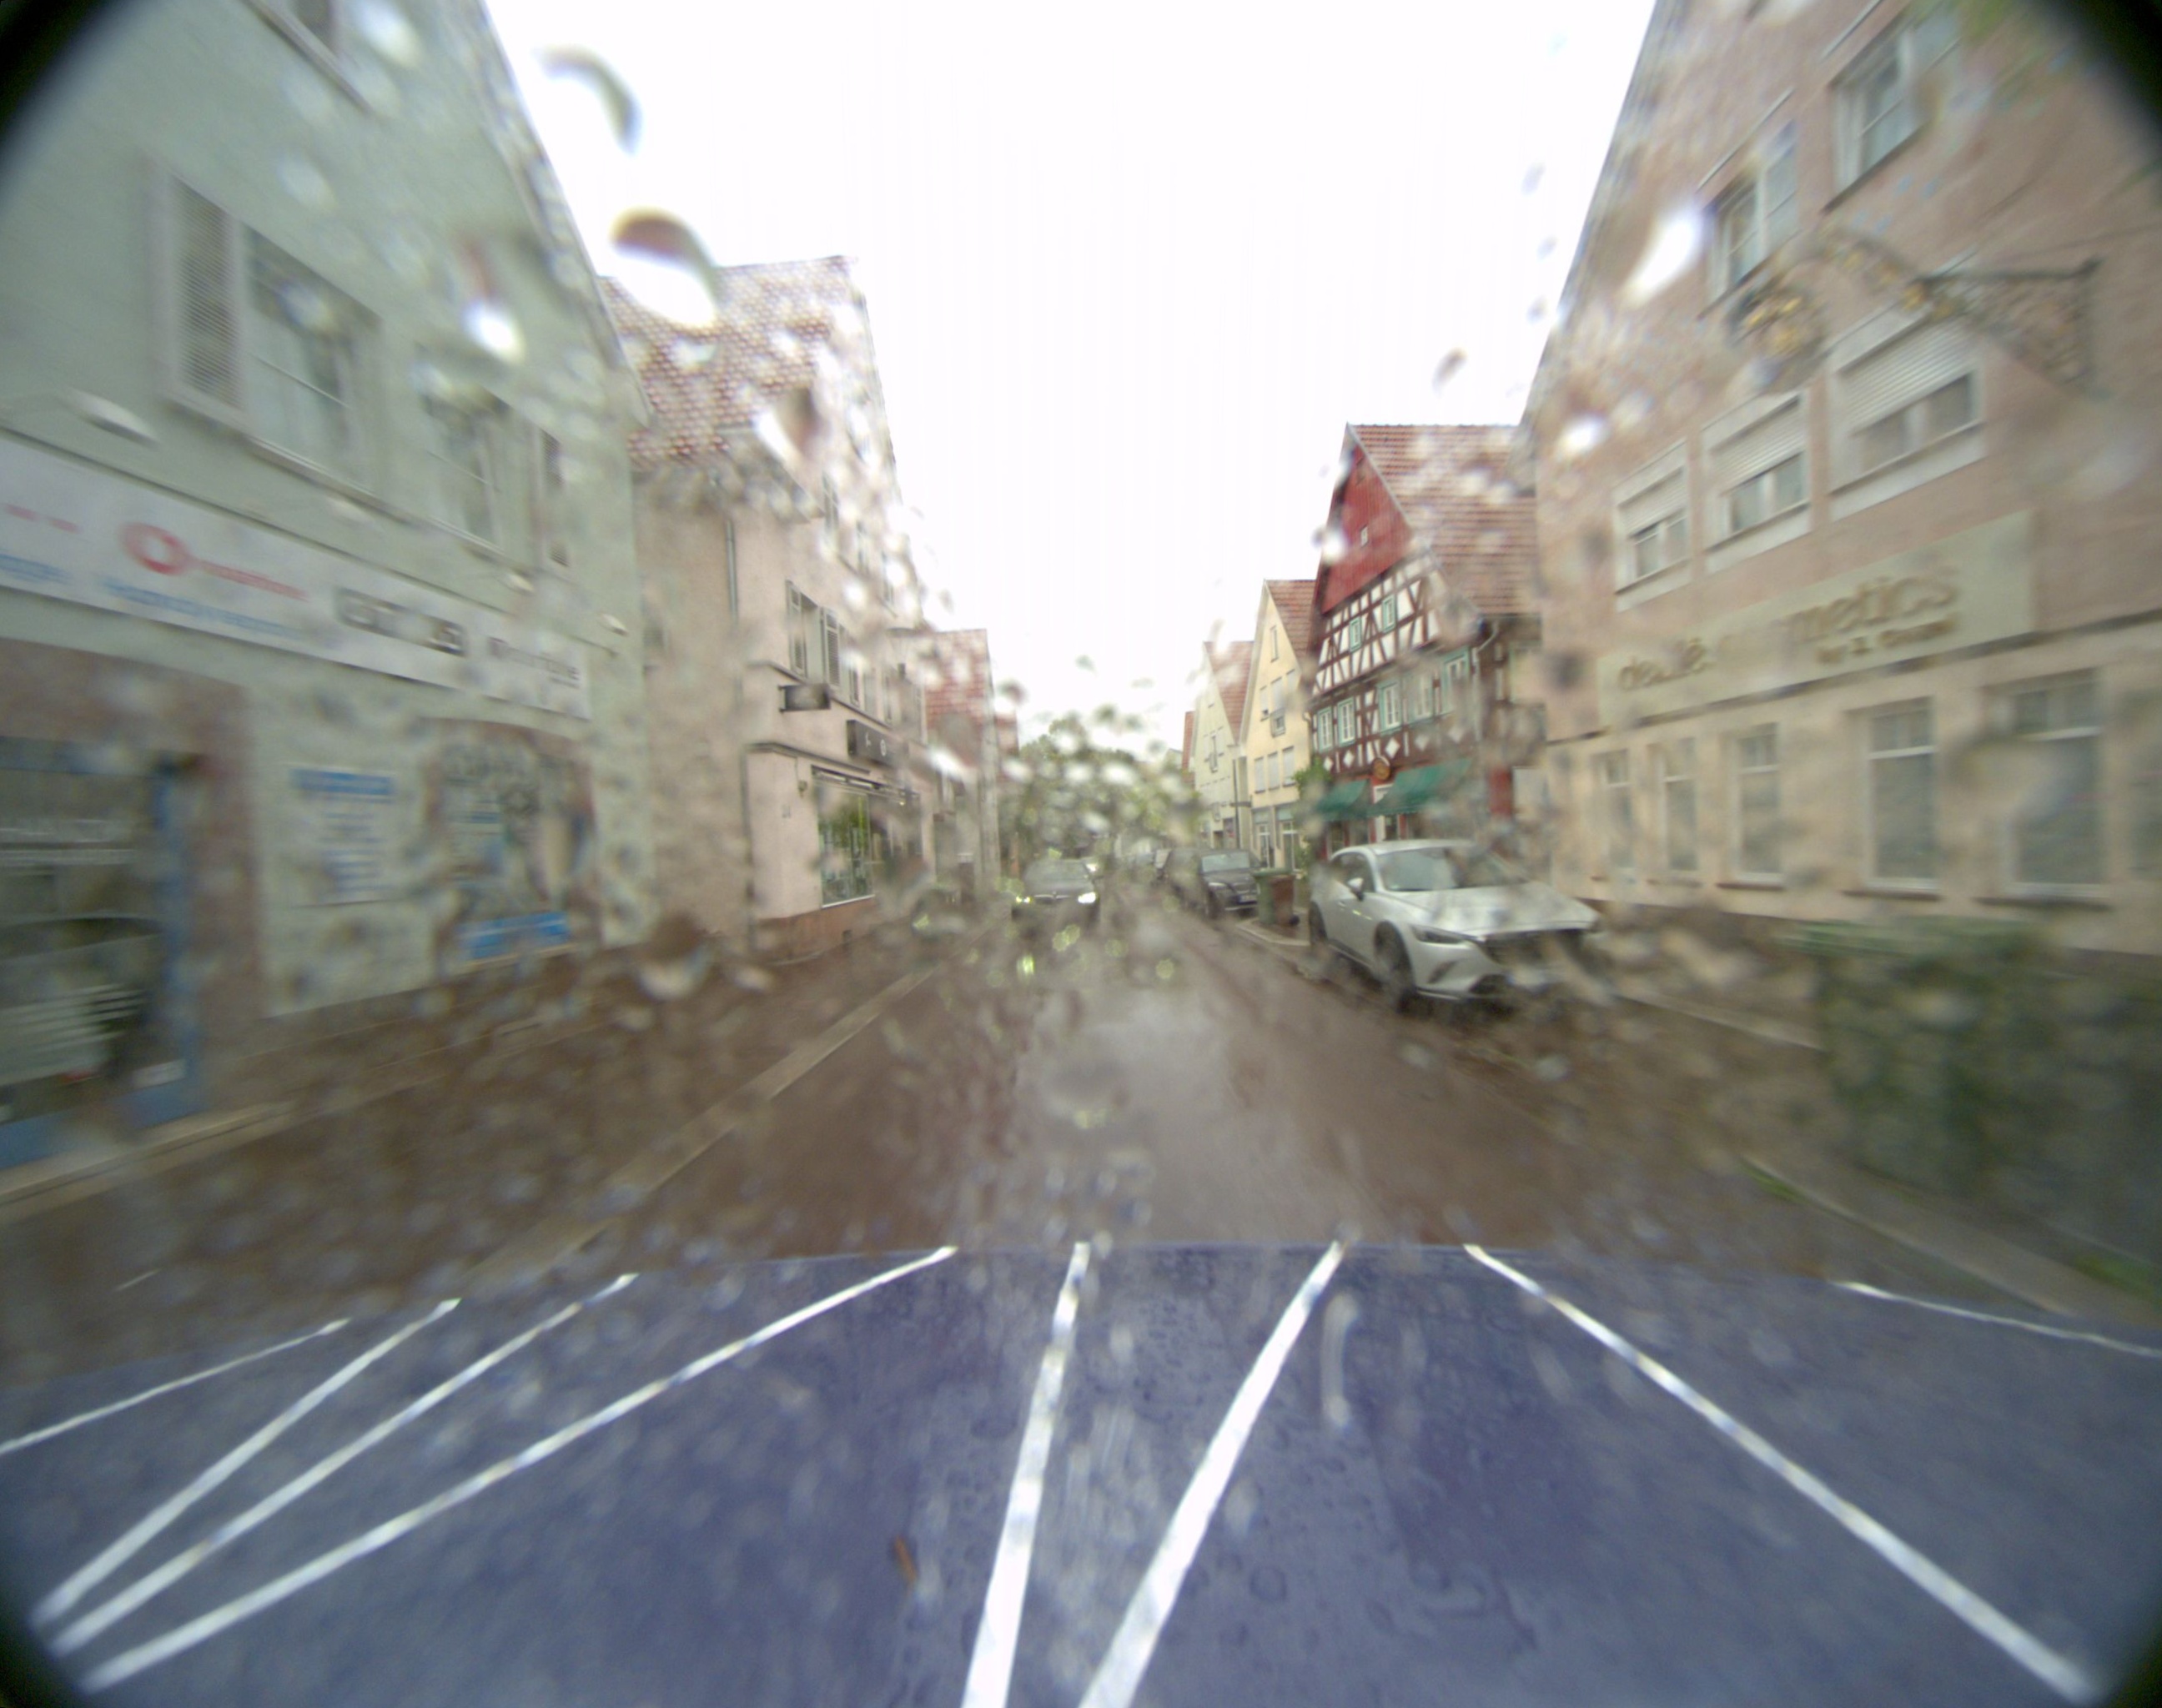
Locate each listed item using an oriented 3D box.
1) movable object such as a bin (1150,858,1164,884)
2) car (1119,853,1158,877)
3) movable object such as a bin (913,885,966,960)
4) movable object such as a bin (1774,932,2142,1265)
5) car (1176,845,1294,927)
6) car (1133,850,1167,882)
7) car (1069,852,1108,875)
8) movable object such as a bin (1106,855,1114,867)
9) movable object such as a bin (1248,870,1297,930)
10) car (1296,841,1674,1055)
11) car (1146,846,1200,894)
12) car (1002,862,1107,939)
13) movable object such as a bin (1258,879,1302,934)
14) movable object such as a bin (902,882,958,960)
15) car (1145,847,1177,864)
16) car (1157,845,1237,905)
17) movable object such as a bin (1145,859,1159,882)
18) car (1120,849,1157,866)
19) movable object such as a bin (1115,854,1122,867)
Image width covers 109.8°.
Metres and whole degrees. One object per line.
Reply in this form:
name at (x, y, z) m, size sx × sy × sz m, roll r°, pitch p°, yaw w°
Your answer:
movable object such as a bin at (3.578, 0.799, 35.689) m, size 0.603 × 1.194 × 0.523 m, roll -3°, pitch 2°, yaw 4°
car at (3.674, 0.696, 48.970) m, size 1.806 × 1.424 × 4.626 m, roll -3°, pitch -1°, yaw -4°
movable object such as a bin at (-2.414, 1.167, 13.036) m, size 0.720 × 1.194 × 0.573 m, roll -3°, pitch 2°, yaw 2°
movable object such as a bin at (3.503, 0.924, 3.089) m, size 0.817 × 1.100 × 0.609 m, roll -3°, pitch 2°, yaw -4°
car at (3.607, 0.668, 18.610) m, size 1.838 × 1.543 × 4.280 m, roll -6°, pitch 1°, yaw -1°
car at (3.847, 0.639, 42.898) m, size 1.596 × 1.537 × 3.976 m, roll -3°, pitch 1°, yaw 2°
car at (0.574, 0.645, 55.627) m, size 1.997 × 1.445 × 4.002 m, roll -2°, pitch 1°, yaw 12°
movable object such as a bin at (2.834, 0.658, 73.945) m, size 0.545 × 1.143 × 0.586 m, roll -2°, pitch 2°, yaw 27°
movable object such as a bin at (3.726, 0.879, 14.838) m, size 0.749 × 1.076 × 0.763 m, roll -3°, pitch 2°, yaw 3°
car at (3.688, 0.697, 7.870) m, size 1.831 × 1.557 × 3.999 m, roll -3°, pitch 1°, yaw 2°
car at (3.788, 0.595, 31.832) m, size 1.776 × 1.665 × 4.479 m, roll -4°, pitch 1°, yaw 2°
car at (-0.708, 0.938, 17.441) m, size 1.999 × 1.398 × 4.891 m, roll -3°, pitch 0°, yaw -4°
movable object such as a bin at (3.696, 0.962, 14.155) m, size 0.658 × 0.950 × 0.562 m, roll -3°, pitch 2°, yaw 3°
movable object such as a bin at (-2.451, 1.082, 12.417) m, size 0.720 × 1.194 × 0.578 m, roll -3°, pitch 2°, yaw 2°
car at (8.611, 0.151, 81.863) m, size 1.691 × 1.680 × 3.964 m, roll -2°, pitch 2°, yaw 35°
car at (3.667, 0.590, 24.824) m, size 1.838 × 1.665 × 4.539 m, roll -3°, pitch 1°, yaw 0°
movable object such as a bin at (3.524, 0.810, 37.976) m, size 0.622 × 1.073 × 0.725 m, roll -3°, pitch 2°, yaw 2°
car at (5.939, 0.347, 78.067) m, size 1.691 × 1.530 × 4.412 m, roll -2°, pitch 0°, yaw 35°
movable object such as a bin at (3.652, 0.642, 73.511) m, size 0.477 × 1.162 × 0.489 m, roll -2°, pitch 2°, yaw 27°
